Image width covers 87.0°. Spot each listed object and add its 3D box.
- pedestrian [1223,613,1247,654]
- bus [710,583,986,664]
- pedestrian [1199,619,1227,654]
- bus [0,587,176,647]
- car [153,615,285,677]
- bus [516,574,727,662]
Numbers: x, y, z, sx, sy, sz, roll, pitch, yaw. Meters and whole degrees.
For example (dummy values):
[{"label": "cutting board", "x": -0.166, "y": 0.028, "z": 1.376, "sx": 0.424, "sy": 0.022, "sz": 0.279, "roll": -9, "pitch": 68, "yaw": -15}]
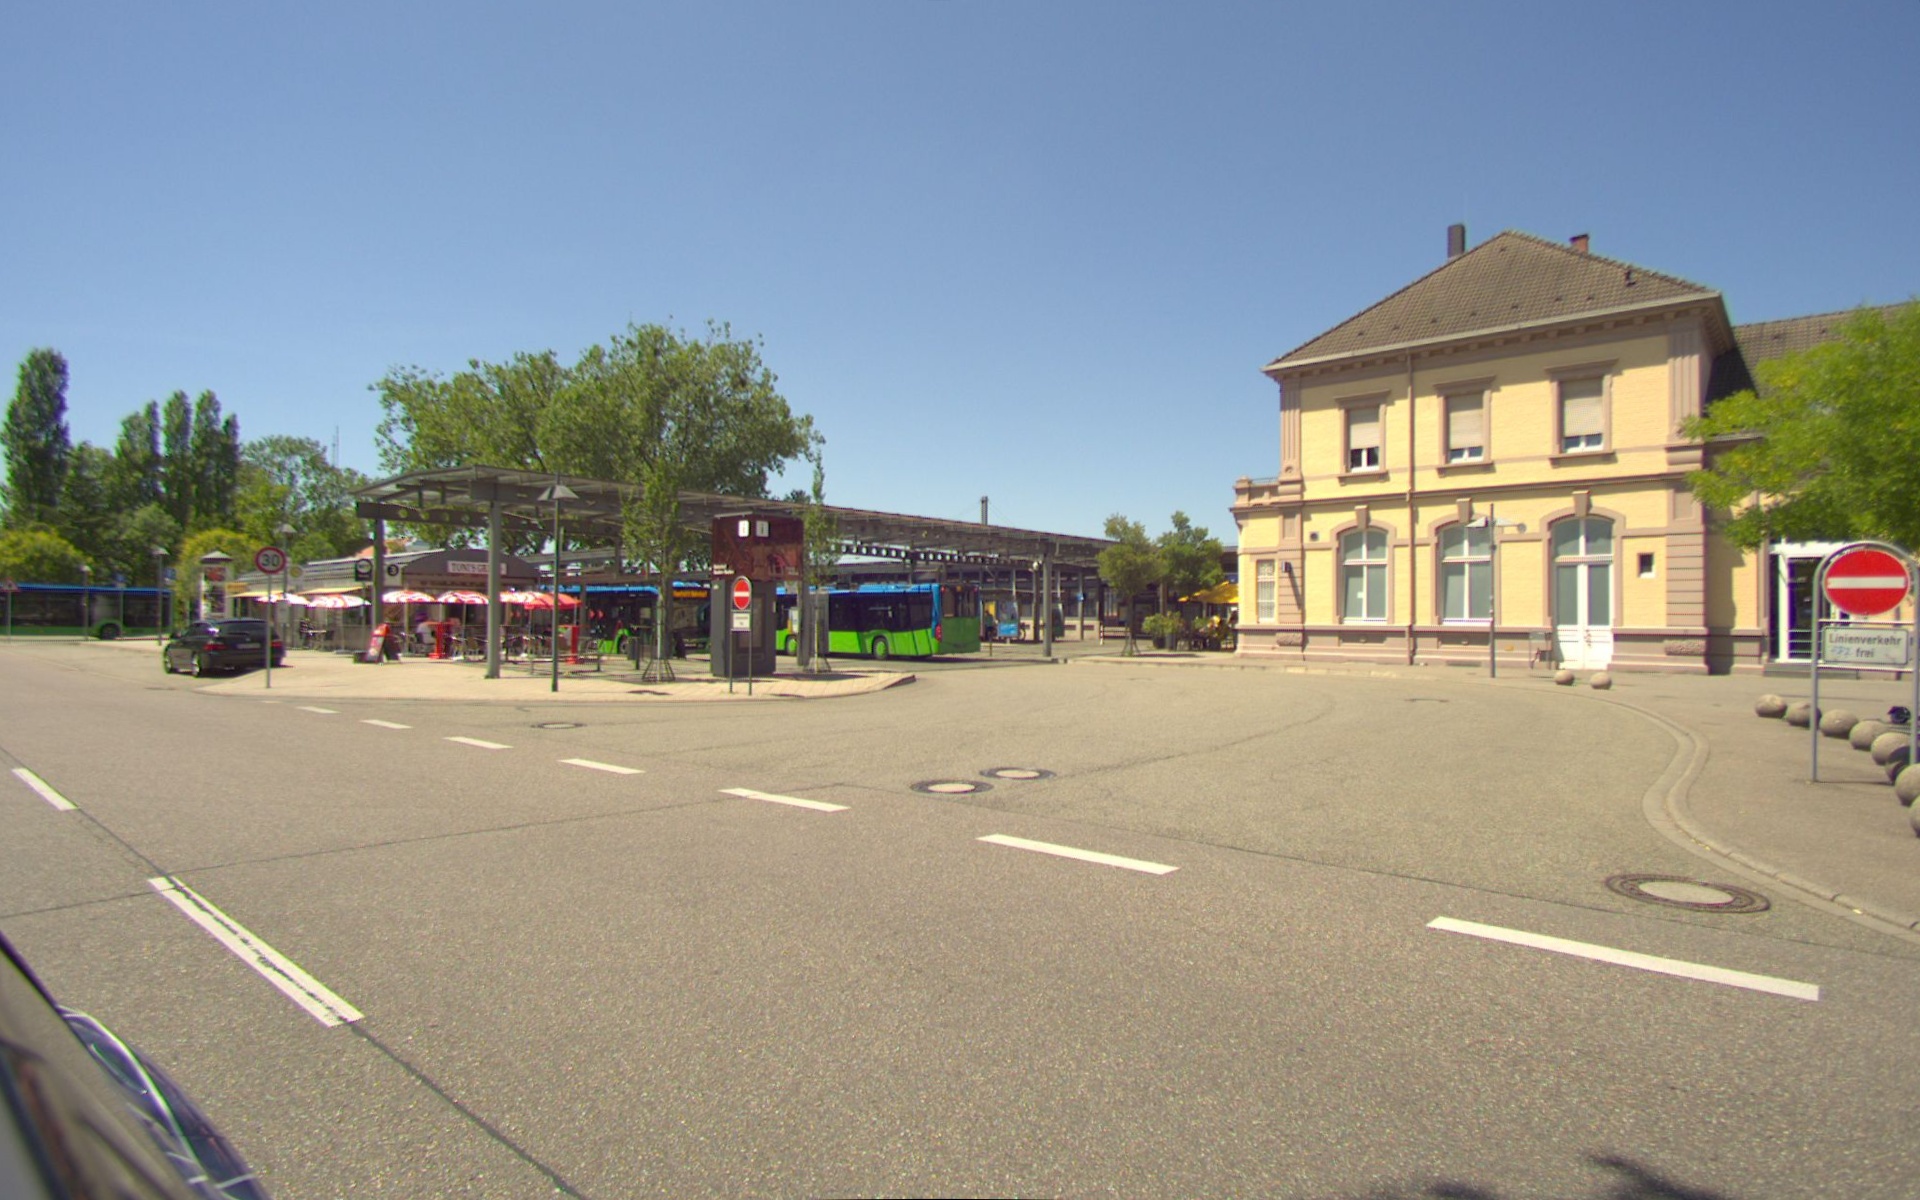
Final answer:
[{"label": "pedestrian", "x": 11.504, "y": 1.415, "z": 42.370, "sx": 0.777, "sy": 1.698, "sz": 0.659, "roll": -3, "pitch": -3, "yaw": 34}, {"label": "bus", "x": -5.509, "y": 1.045, "z": 44.561, "sx": 15.519, "sy": 3.060, "sz": 2.835, "roll": -1, "pitch": -2, "yaw": 44}, {"label": "pedestrian", "x": 11.109, "y": 1.597, "z": 44.372, "sx": 0.957, "sy": 1.488, "sz": 0.890, "roll": -1, "pitch": -2, "yaw": 32}, {"label": "bus", "x": -55.776, "y": 1.036, "z": 61.988, "sx": 2.169, "sy": 3.553, "sz": 12.052, "roll": -1, "pitch": -1, "yaw": 42}, {"label": "car", "x": -19.689, "y": 1.176, "z": 26.822, "sx": 4.782, "sy": 1.489, "sz": 1.701, "roll": -1, "pitch": -2, "yaw": 40}, {"label": "bus", "x": -14.573, "y": 0.807, "z": 42.650, "sx": 11.843, "sy": 3.258, "sz": 2.934, "roll": -1, "pitch": -2, "yaw": 42}]
